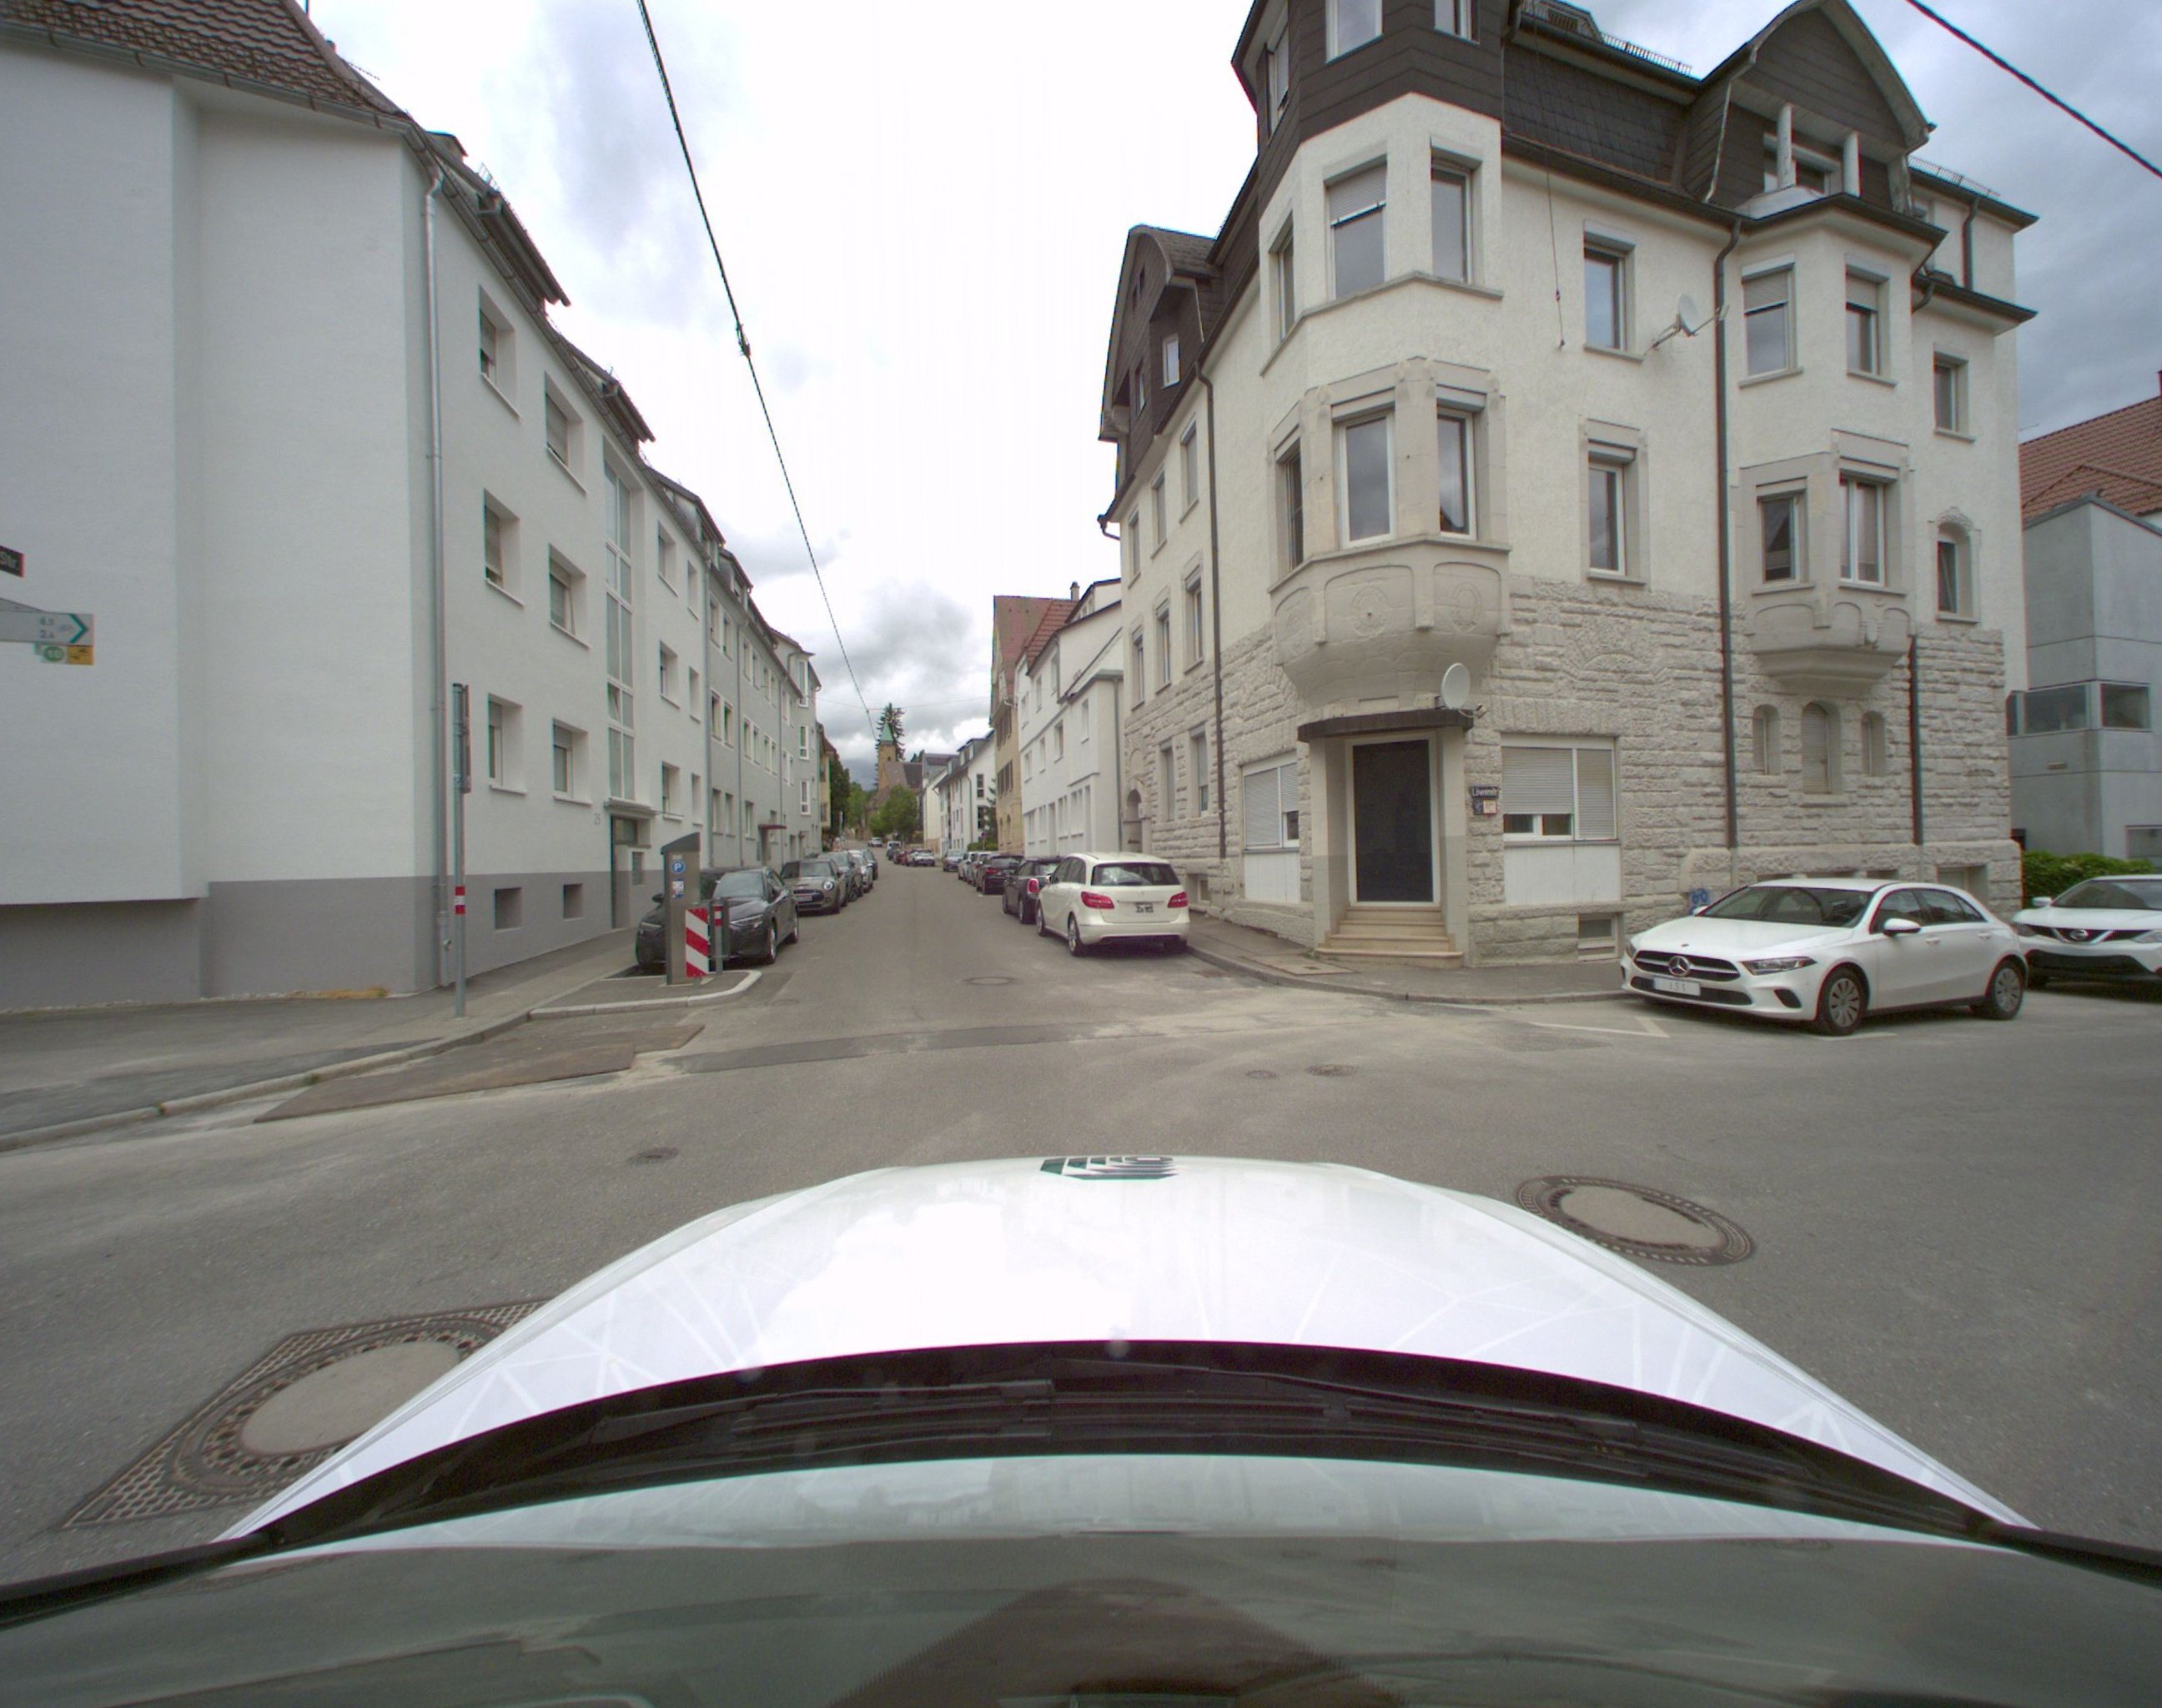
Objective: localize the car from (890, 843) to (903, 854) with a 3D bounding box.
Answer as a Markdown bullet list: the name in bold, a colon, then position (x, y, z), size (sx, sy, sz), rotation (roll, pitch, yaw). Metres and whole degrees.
- **car**: position (-24.392, -0.749, 107.517), size (1.670, 1.479, 3.609), rotation (-1, 1, -14)

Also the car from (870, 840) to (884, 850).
- **car**: position (-36.258, -1.648, 144.822), size (2.189, 1.693, 3.603), rotation (-1, 1, -19)

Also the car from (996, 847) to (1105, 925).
- **car**: position (-0.810, 0.640, 18.560), size (1.670, 1.532, 4.008), rotation (1, 1, -14)

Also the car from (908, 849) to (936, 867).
- **car**: position (-13.606, 0.310, 69.609), size (1.791, 1.479, 3.600), rotation (-1, 1, -21)

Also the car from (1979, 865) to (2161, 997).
- **car**: position (14.300, 0.930, 10.744), size (4.240, 1.516, 1.839), rotation (1, -1, -20)

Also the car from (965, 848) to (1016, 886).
- **car**: position (-3.888, 0.532, 34.663), size (1.670, 1.479, 3.609), rotation (1, 1, -14)

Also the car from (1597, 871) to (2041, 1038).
- **car**: position (7.737, 0.912, 8.566), size (4.240, 1.414, 1.693), rotation (1, -1, -20)

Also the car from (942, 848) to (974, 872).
- **car**: position (-7.893, 0.361, 52.029), size (1.670, 1.479, 3.609), rotation (1, 1, -14)

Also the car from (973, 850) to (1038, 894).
- **car**: position (-2.711, 0.588, 28.591), size (1.670, 1.385, 4.008), rotation (1, 1, -14)

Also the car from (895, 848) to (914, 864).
- **car**: position (-17.314, 0.142, 79.946), size (1.670, 1.479, 3.609), rotation (-1, 1, -14)

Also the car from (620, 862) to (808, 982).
- **car**: position (-5.473, 0.892, 12.726), size (1.822, 1.391, 4.279), rotation (-2, 1, -13)

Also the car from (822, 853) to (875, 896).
- **car**: position (-8.889, 0.734, 31.379), size (1.732, 1.448, 3.703), rotation (-2, 1, -13)

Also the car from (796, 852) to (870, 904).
- **car**: position (-7.930, 0.723, 26.301), size (1.730, 1.469, 3.708), rotation (-2, 1, -9)

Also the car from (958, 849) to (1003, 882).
- **car**: position (-4.873, 0.519, 39.166), size (1.670, 1.479, 3.609), rotation (1, 1, -14)

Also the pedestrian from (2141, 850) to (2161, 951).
- **pedestrian**: position (20.599, 0.864, 15.079), size (0.840, 1.885, 0.820), rotation (0, -2, 5)

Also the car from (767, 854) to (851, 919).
- **car**: position (-7.131, 0.780, 21.643), size (1.732, 1.489, 3.703), rotation (-2, 1, -13)

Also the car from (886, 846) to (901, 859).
- **car**: position (-22.138, -0.243, 96.285), size (1.670, 1.479, 3.609), rotation (-1, 1, -14)

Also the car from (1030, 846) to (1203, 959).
- **car**: position (0.421, 0.680, 13.644), size (1.823, 1.599, 4.008), rotation (1, 0, -14)
